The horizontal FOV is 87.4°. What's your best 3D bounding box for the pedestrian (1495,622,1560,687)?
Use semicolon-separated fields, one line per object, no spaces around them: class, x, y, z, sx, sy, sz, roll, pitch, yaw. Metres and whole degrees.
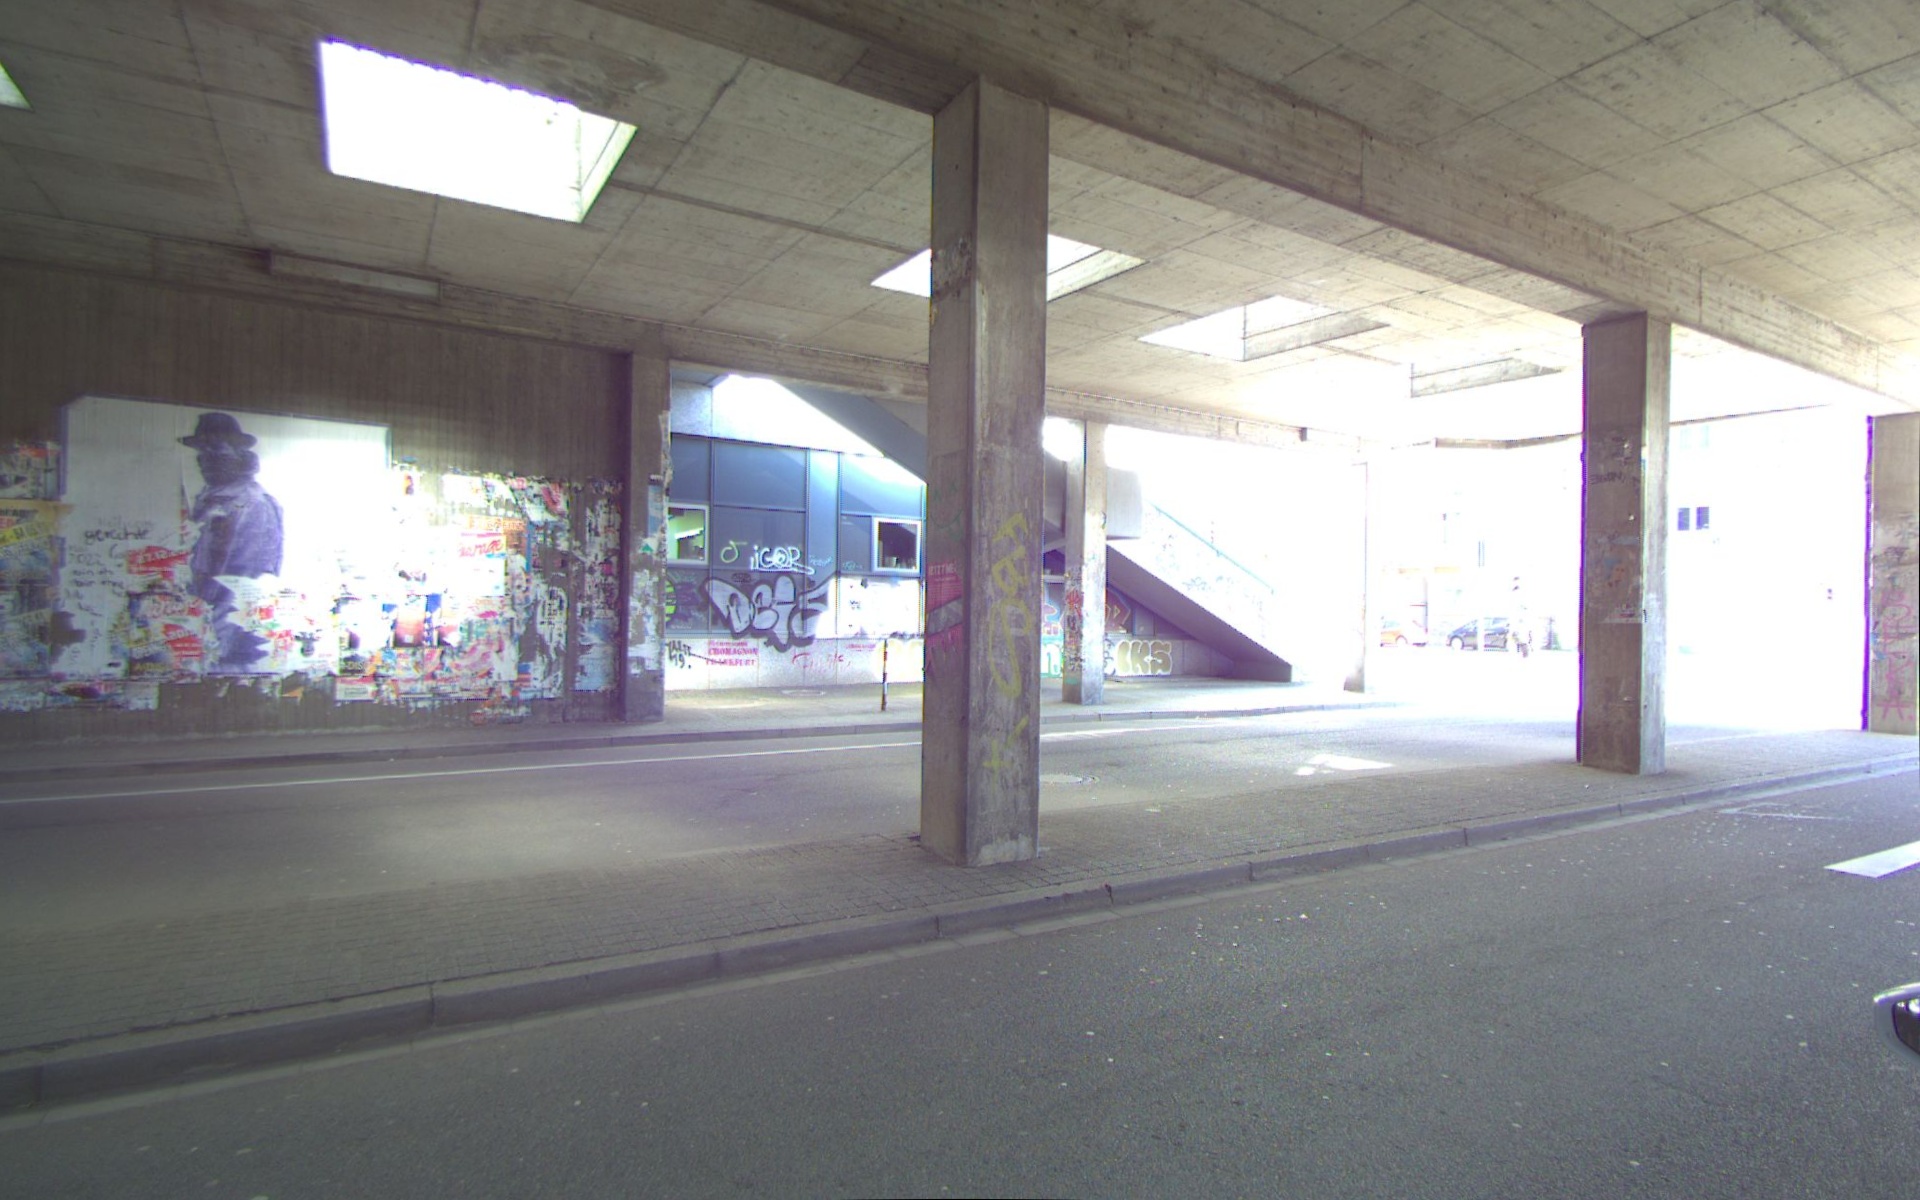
pedestrian;15.891;1.514;28.140;1.123;1.760;1.111;1;-1;-17

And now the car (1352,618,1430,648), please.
car;22.458;1.702;52.450;1.543;1.526;3.518;1;-1;-29

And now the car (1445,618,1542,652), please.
car;25.347;1.657;47.837;1.732;1.528;3.735;1;-1;-31
